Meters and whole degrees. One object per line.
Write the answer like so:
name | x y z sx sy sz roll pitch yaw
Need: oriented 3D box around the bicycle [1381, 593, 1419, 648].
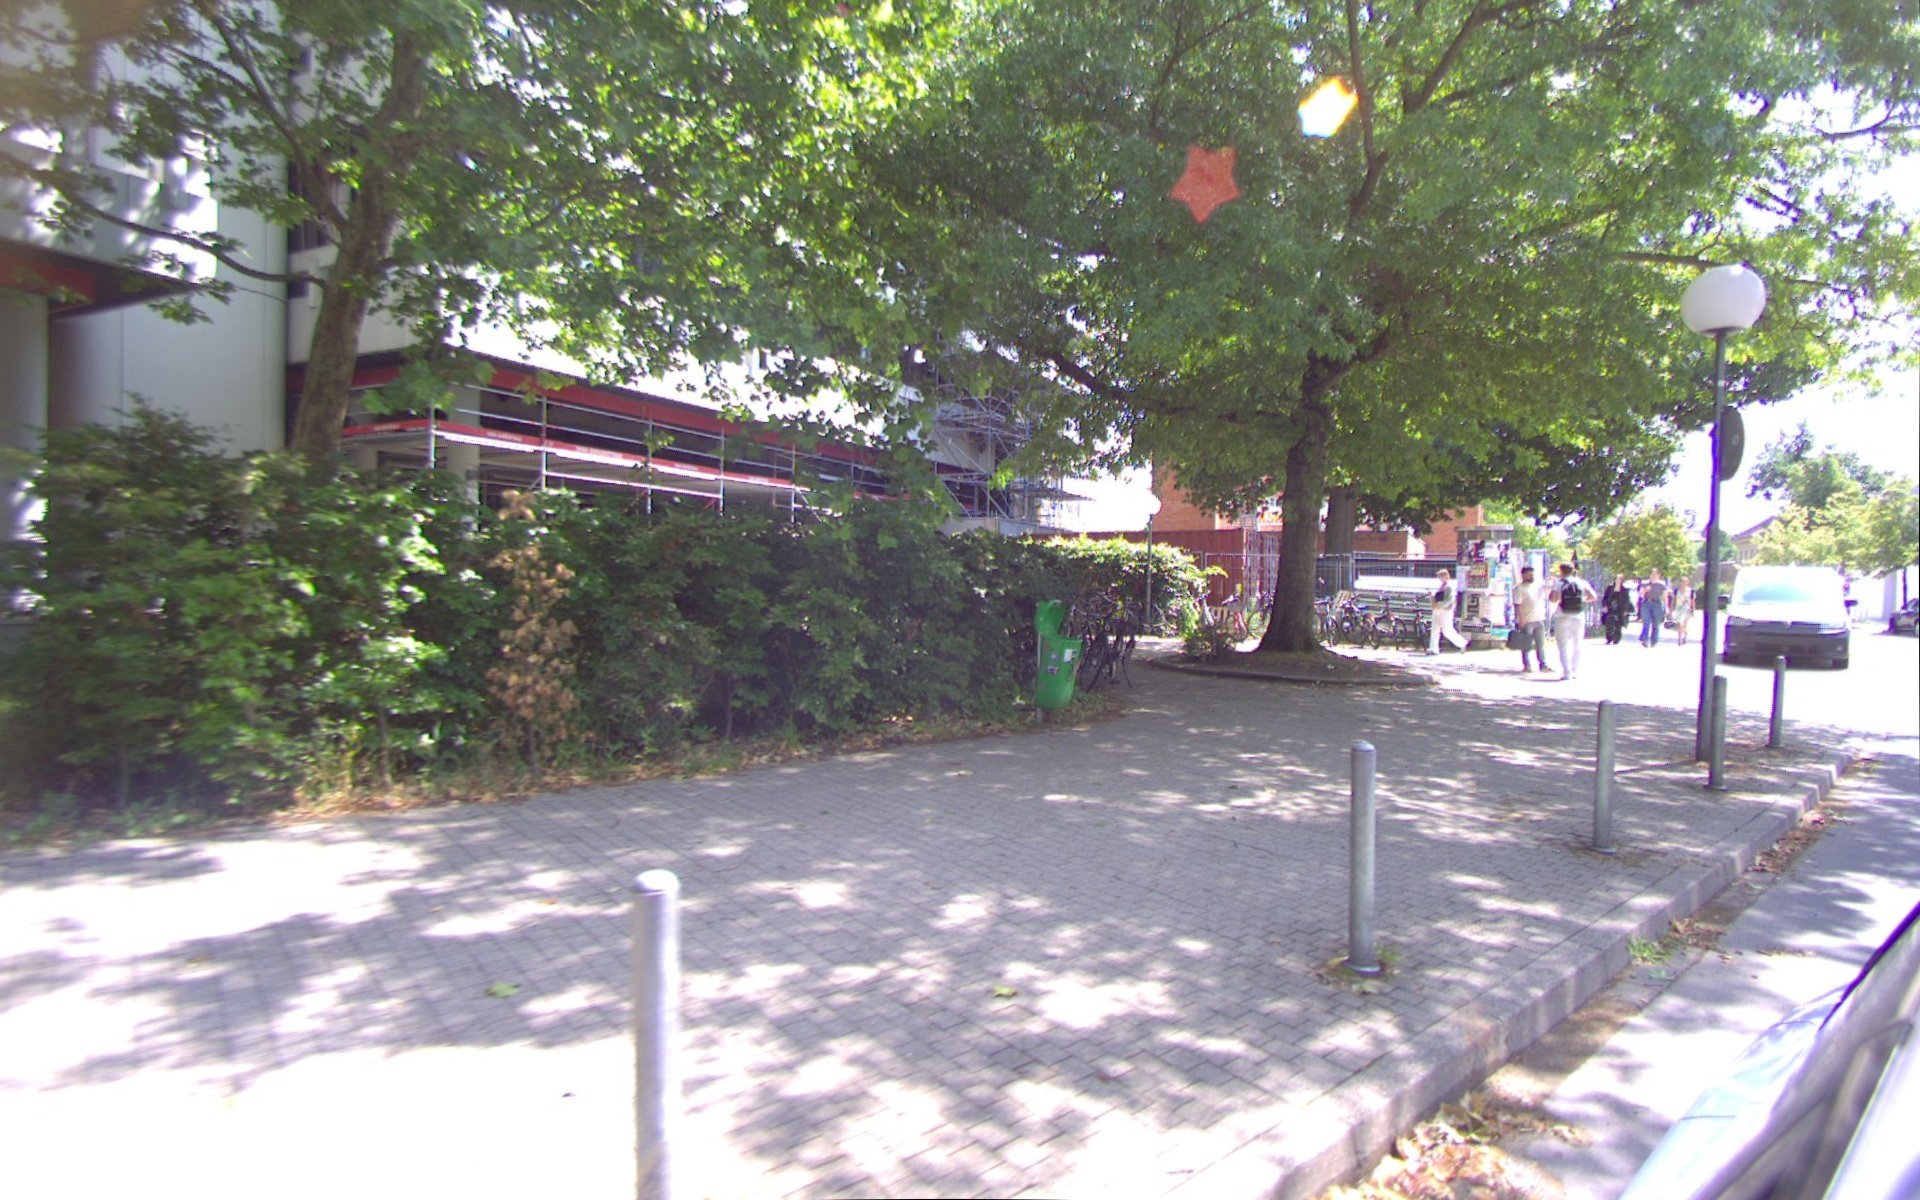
bicycle | 9.161 0.406 21.095 0.507 1.029 1.798 2 2 18

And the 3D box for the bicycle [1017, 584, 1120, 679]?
bicycle | 1.435 0.358 13.086 0.496 1.133 1.913 1 1 33

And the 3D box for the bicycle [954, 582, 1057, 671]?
bicycle | 0.657 0.329 13.917 0.496 1.133 1.917 1 1 33

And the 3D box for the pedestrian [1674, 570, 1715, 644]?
pedestrian | 17.334 0.156 23.898 0.646 1.687 0.895 2 1 30

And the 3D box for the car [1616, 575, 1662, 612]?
car | 50.998 -0.496 76.103 2.045 2.575 5.797 2 1 26

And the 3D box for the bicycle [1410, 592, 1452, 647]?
bicycle | 9.662 0.377 20.793 0.507 1.029 1.798 2 2 18

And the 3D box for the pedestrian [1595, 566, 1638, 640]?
pedestrian | 14.818 0.067 22.832 0.668 1.619 0.971 2 1 40

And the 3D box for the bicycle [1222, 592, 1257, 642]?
bicycle | 6.053 0.349 21.970 0.506 0.968 1.804 2 2 9

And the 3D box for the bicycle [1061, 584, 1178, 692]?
bicycle | 1.875 0.391 11.716 0.616 1.133 1.849 1 1 34

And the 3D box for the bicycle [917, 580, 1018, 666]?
bicycle | 0.136 0.289 14.328 0.496 1.133 1.849 1 1 33

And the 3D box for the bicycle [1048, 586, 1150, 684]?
bicycle | 1.764 0.391 12.637 0.496 1.133 1.849 1 1 33

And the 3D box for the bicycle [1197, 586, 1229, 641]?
bicycle | 5.514 0.269 22.139 0.492 1.091 1.804 2 2 9

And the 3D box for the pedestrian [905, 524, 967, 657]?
pedestrian | -0.344 -0.148 14.597 0.541 1.860 0.752 1 1 35

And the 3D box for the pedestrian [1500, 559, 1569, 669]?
pedestrian | 9.232 0.211 16.277 0.730 1.731 0.565 1 1 -7

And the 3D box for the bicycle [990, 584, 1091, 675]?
bicycle | 1.110 0.358 13.563 0.496 1.133 1.849 1 1 33

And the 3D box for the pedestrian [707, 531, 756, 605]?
pedestrian | -5.008 -0.693 22.166 0.755 1.592 0.719 1 1 35

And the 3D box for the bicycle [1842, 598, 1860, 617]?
bicycle | 52.642 0.451 59.795 0.541 1.075 1.876 1 1 33

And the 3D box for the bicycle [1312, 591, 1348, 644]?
bicycle | 7.887 0.342 21.530 0.509 1.029 1.792 3 2 26

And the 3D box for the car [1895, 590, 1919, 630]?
car | 38.415 0.402 39.499 1.686 1.583 4.031 1 1 26

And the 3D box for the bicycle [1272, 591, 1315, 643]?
bicycle | 7.187 0.353 21.779 0.510 1.029 1.790 3 2 29

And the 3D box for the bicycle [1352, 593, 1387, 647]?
bicycle | 8.634 0.393 21.358 0.507 1.029 1.798 2 2 18

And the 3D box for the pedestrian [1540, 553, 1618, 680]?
pedestrian | 9.224 0.239 15.096 0.709 1.844 0.631 1 1 -7

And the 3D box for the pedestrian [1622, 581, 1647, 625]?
pedestrian | 28.529 0.110 42.805 0.688 1.803 0.781 2 1 21

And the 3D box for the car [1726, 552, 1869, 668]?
car | 15.813 0.126 19.265 1.845 1.915 4.823 2 2 38

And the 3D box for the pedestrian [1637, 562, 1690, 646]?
pedestrian | 15.396 0.079 22.151 0.849 1.786 0.705 2 1 40

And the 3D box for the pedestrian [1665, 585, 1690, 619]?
pedestrian | 39.209 0.107 55.313 0.817 1.840 1.135 1 1 23

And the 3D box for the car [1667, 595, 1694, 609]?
car | 70.074 0.170 98.457 1.687 1.311 3.724 2 1 29

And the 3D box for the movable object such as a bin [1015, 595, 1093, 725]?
movable object such as a bin | 0.833 0.504 8.911 0.488 1.085 0.498 1 1 36
